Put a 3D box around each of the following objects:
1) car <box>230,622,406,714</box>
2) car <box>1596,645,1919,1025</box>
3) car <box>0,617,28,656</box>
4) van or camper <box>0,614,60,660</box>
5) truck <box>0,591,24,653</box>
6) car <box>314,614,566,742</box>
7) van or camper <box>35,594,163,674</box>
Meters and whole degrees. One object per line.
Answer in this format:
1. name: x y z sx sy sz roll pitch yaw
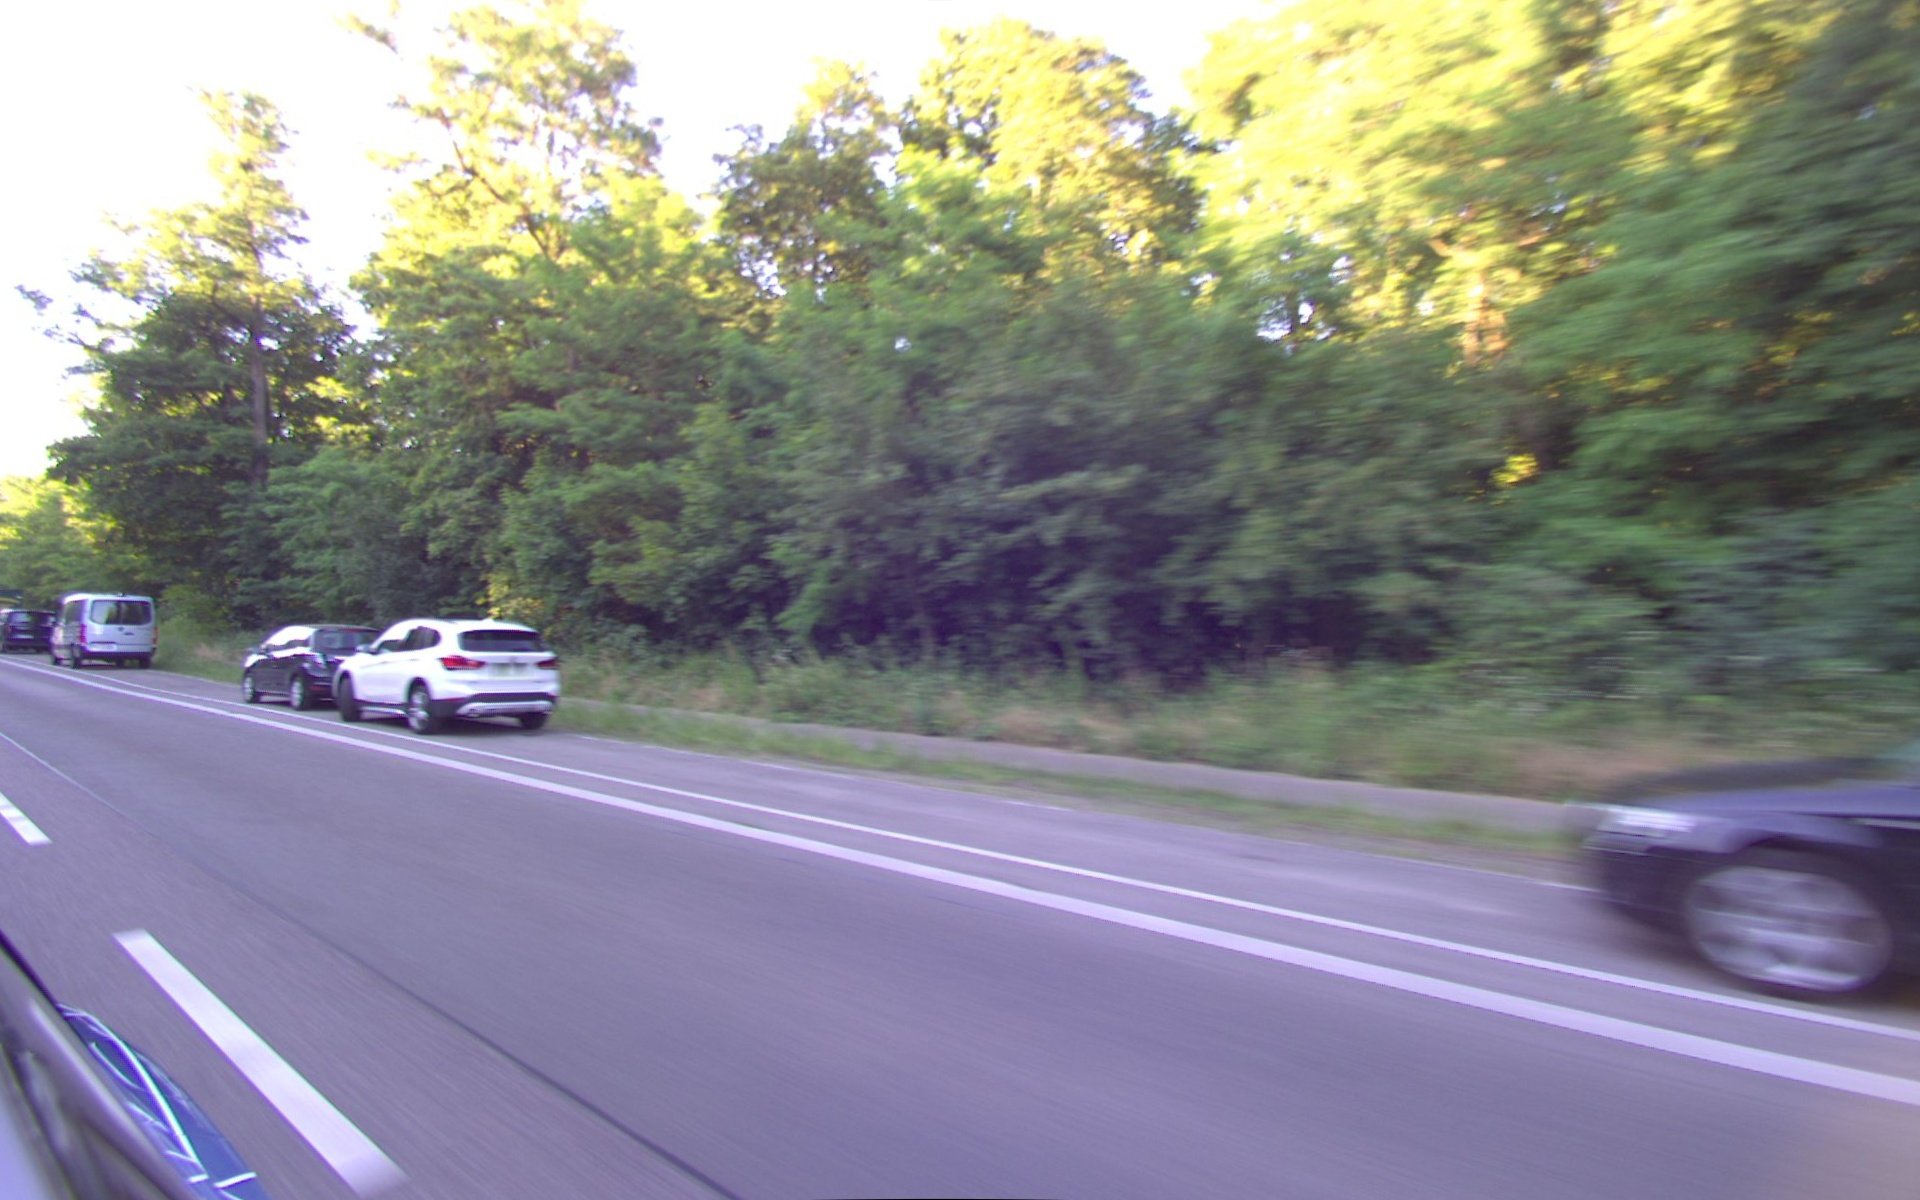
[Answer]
1. car: -11.981 1.203 18.820 3.732 1.532 1.655 -1 -3 39
2. car: 4.872 0.902 3.777 4.049 1.405 1.581 -1 -3 41
3. car: -47.976 1.796 50.453 3.755 1.841 1.587 -1 -5 39
4. van or camper: -43.254 1.694 46.473 4.687 1.971 2.009 -1 -5 39
5. truck: -53.293 1.195 55.263 6.266 3.232 2.198 -1 -5 40
6. car: -7.929 1.079 15.252 4.568 1.658 1.678 -1 -3 40
7. van or camper: -28.674 1.147 33.623 6.376 2.409 2.089 -1 -4 40
